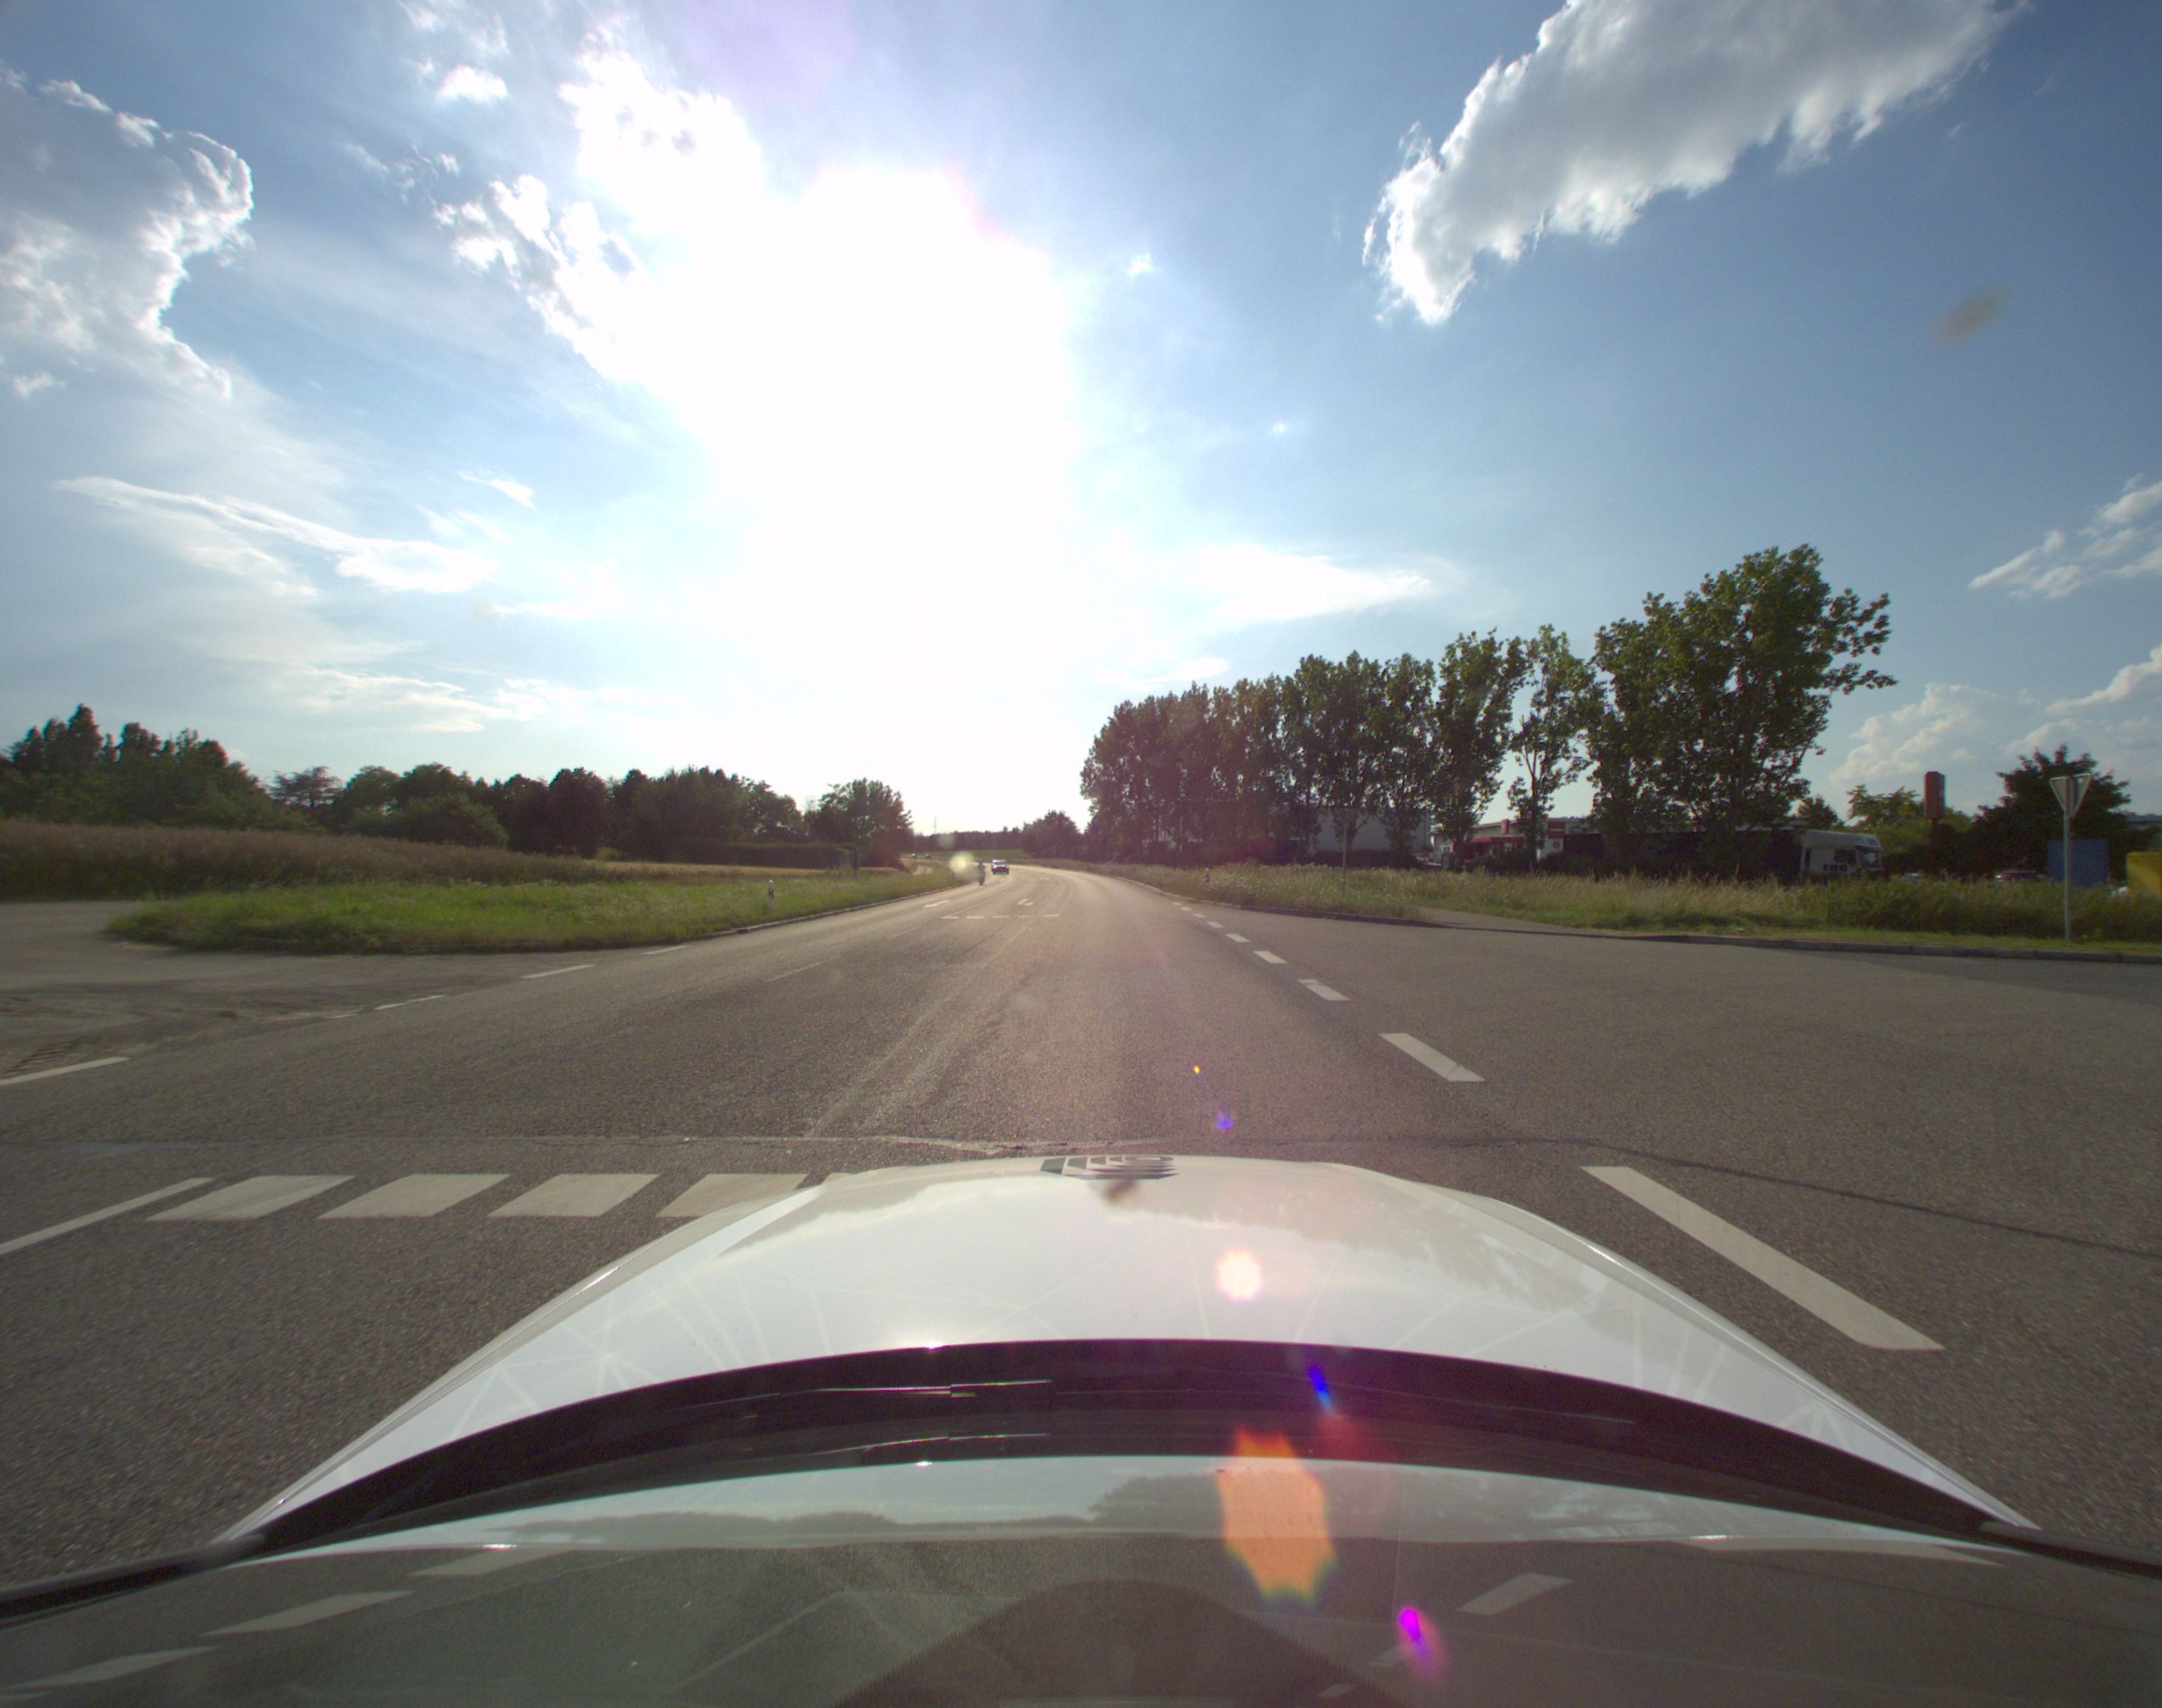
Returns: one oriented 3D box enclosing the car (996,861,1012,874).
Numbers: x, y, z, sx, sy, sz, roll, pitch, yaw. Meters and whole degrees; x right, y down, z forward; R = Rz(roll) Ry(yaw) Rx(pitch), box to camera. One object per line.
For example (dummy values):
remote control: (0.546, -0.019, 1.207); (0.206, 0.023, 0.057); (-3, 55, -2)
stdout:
car: (-8.544, 1.470, 90.352); (1.681, 1.349, 3.994); (-1, 0, -4)

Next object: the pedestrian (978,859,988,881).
pedestrian: (-6.657, 1.079, 55.306); (0.564, 1.505, 0.864); (2, -1, -3)

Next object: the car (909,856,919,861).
car: (-47.767, 1.227, 233.112); (1.859, 1.408, 3.615); (3, -2, -24)

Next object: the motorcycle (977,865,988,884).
motorcycle: (-6.669, 1.376, 55.267); (0.584, 1.261, 2.118); (2, -1, -3)

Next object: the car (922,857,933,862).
car: (-40.880, 1.407, 217.279); (1.977, 1.151, 3.836); (3, -2, -24)

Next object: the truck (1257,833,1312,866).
truck: (21.659, -0.423, 86.816); (2.633, 3.162, 5.661); (3, -3, -25)

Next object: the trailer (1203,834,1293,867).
trailer: (18.760, -0.276, 93.086); (2.696, 3.142, 13.159); (3, -3, -25)

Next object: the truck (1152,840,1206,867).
truck: (12.744, -0.049, 107.245); (2.522, 3.377, 9.611); (3, -2, -23)

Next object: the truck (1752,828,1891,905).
truck: (40.085, 0.668, 44.240); (2.256, 3.916, 5.072); (4, -2, -28)

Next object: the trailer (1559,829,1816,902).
trailer: (37.061, 0.685, 50.992); (2.252, 3.916, 13.619); (3, -2, -22)

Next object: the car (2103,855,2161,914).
car: (47.735, 1.329, 33.796); (2.221, 2.519, 6.819); (3, -1, 1)
